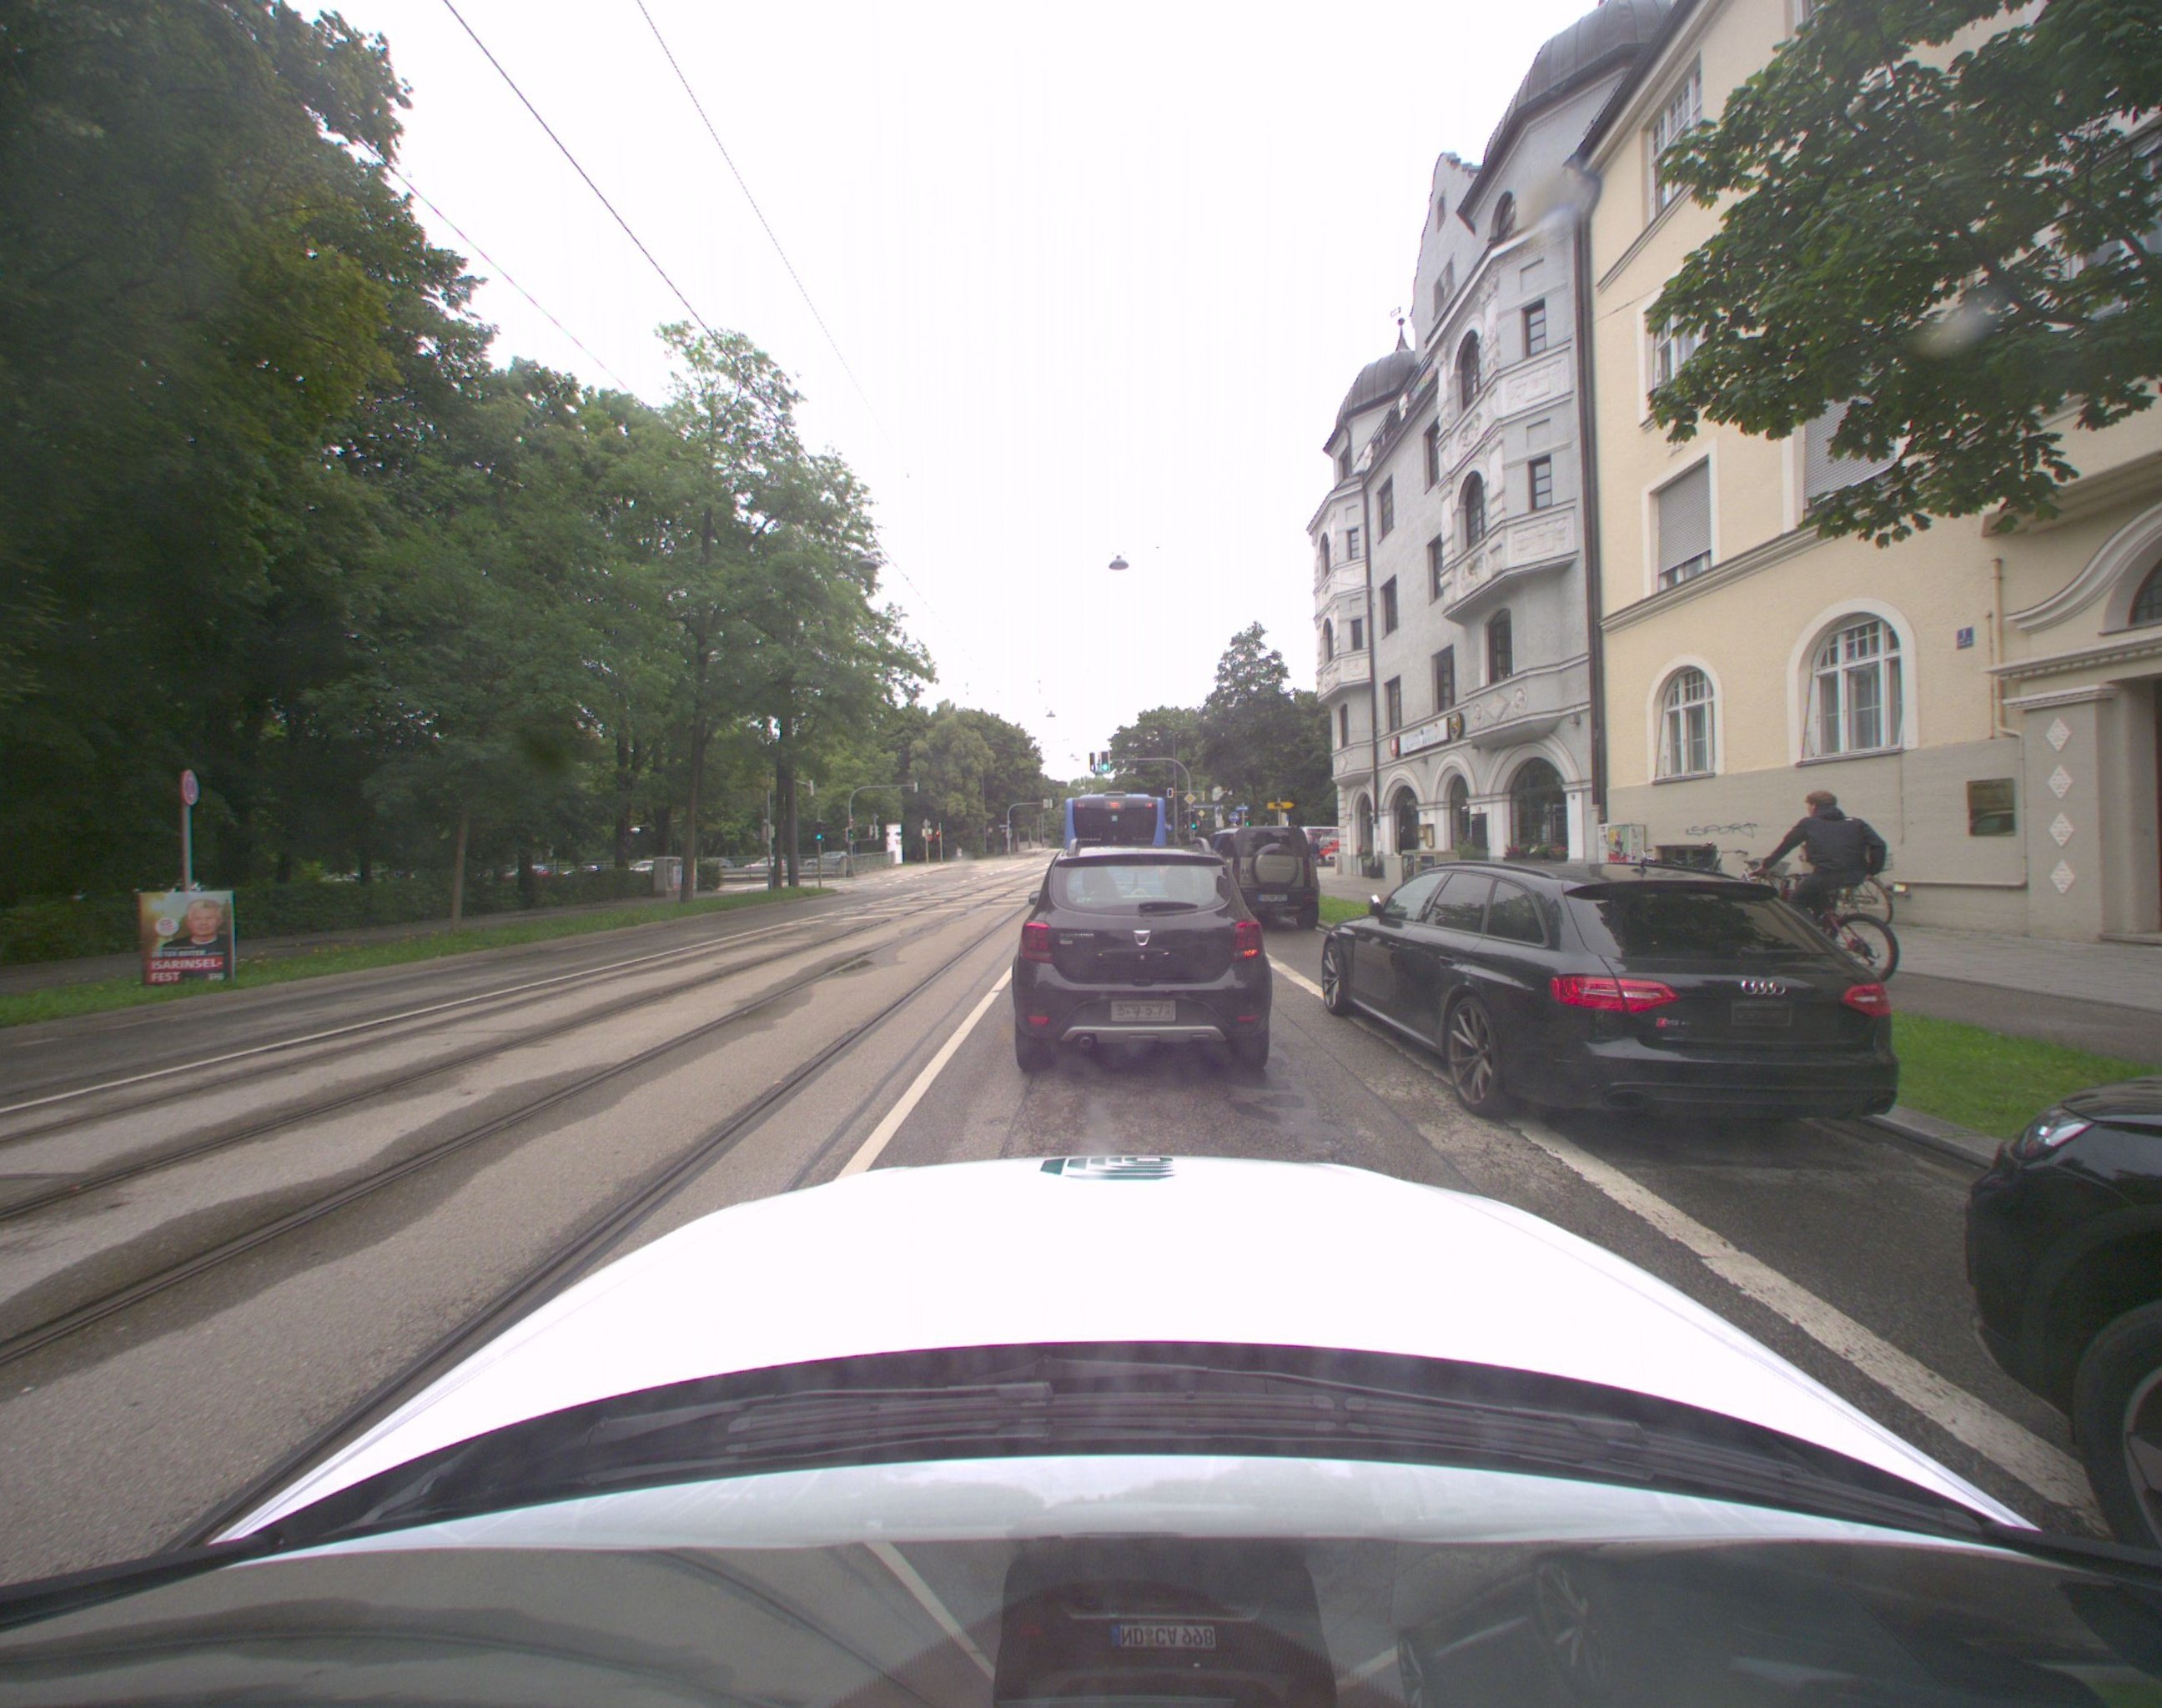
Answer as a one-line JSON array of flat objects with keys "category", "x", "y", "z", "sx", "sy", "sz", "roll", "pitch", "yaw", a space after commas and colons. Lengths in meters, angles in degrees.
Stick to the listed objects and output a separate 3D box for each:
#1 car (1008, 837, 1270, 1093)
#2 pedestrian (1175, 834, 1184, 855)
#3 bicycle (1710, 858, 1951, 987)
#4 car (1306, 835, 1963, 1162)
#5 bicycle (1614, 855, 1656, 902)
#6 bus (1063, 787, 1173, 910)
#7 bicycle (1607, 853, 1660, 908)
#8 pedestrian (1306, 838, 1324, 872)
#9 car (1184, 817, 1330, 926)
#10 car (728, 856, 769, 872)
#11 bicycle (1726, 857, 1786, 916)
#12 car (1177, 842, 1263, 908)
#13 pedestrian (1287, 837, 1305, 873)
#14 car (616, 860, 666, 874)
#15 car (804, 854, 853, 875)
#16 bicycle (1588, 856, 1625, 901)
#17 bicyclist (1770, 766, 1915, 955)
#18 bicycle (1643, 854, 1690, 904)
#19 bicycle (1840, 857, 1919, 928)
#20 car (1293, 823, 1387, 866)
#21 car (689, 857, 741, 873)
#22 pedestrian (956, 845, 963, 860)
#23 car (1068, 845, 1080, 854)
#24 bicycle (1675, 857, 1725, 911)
[{"category": "car", "x": 0.391, "y": 0.673, "z": 6.727, "sx": 1.595, "sy": 1.556, "sz": 3.526, "roll": 0, "pitch": 0, "yaw": 1}, {"category": "pedestrian", "x": 10.222, "y": -1.008, "z": 84.714, "sx": 0.760, "sy": 2.116, "sz": 0.854, "roll": -2, "pitch": 0, "yaw": 2}, {"category": "bicycle", "x": 7.282, "y": 0.603, "z": 8.066, "sx": 0.577, "sy": 1.078, "sz": 1.912, "roll": -4, "pitch": 0, "yaw": 1}, {"category": "car", "x": 3.055, "y": 0.630, "z": 5.869, "sx": 1.709, "sy": 1.426, "sz": 4.603, "roll": 0, "pitch": 0, "yaw": 1}, {"category": "bicycle", "x": 11.256, "y": 0.493, "z": 16.553, "sx": 0.289, "sy": 0.930, "sz": 0.886, "roll": 0, "pitch": 0, "yaw": 3}, {"category": "bus", "x": 0.912, "y": -0.138, "z": 23.248, "sx": 2.670, "sy": 2.997, "sz": 6.960, "roll": 0, "pitch": 0, "yaw": 0}, {"category": "bicycle", "x": 10.814, "y": 0.491, "z": 15.973, "sx": 0.241, "sy": 1.039, "sz": 1.224, "roll": 0, "pitch": 0, "yaw": 2}, {"category": "pedestrian", "x": 11.861, "y": 0.050, "z": 41.343, "sx": 0.702, "sy": 1.732, "sz": 0.843, "roll": 0, "pitch": 0, "yaw": 2}, {"category": "car", "x": 3.365, "y": 0.301, "z": 16.562, "sx": 1.908, "sy": 1.905, "sz": 4.807, "roll": 0, "pitch": 0, "yaw": 0}, {"category": "car", "x": -29.954, "y": 0.892, "z": 73.381, "sx": 3.103, "sy": 1.452, "sz": 1.249, "roll": 0, "pitch": 0, "yaw": -4}, {"category": "bicycle", "x": 11.001, "y": 0.512, "z": 13.290, "sx": 0.284, "sy": 0.930, "sz": 0.886, "roll": 0, "pitch": 0, "yaw": 3}, {"category": "car", "x": 3.616, "y": 0.495, "z": 21.796, "sx": 1.708, "sy": 1.591, "sz": 4.329, "roll": 0, "pitch": 0, "yaw": 2}, {"category": "pedestrian", "x": 11.051, "y": 0.043, "z": 41.825, "sx": 0.702, "sy": 1.816, "sz": 0.870, "roll": 0, "pitch": 0, "yaw": 2}, {"category": "car", "x": -39.411, "y": 1.154, "z": 73.023, "sx": 3.720, "sy": 1.185, "sz": 1.249, "roll": 0, "pitch": 0, "yaw": -4}, {"category": "car", "x": -22.904, "y": 0.936, "z": 74.029, "sx": 4.015, "sy": 1.887, "sz": 1.488, "roll": 0, "pitch": 0, "yaw": -5}, {"category": "bicycle", "x": 11.285, "y": 0.520, "z": 17.490, "sx": 0.258, "sy": 0.930, "sz": 0.886, "roll": 0, "pitch": 0, "yaw": 3}, {"category": "bicyclist", "x": 7.287, "y": 0.058, "z": 7.827, "sx": 0.722, "sy": 1.729, "sz": 0.726, "roll": 0, "pitch": 0, "yaw": 1}, {"category": "bicycle", "x": 11.193, "y": 0.462, "z": 15.594, "sx": 0.304, "sy": 0.930, "sz": 0.886, "roll": 0, "pitch": 0, "yaw": 4}, {"category": "bicycle", "x": 10.989, "y": 0.510, "z": 11.231, "sx": 0.220, "sy": 0.930, "sz": 0.886, "roll": 0, "pitch": 0, "yaw": 1}, {"category": "car", "x": 16.229, "y": -0.587, "z": 51.215, "sx": 5.281, "sy": 2.612, "sz": 2.229, "roll": 0, "pitch": 0, "yaw": -2}, {"category": "car", "x": -32.979, "y": 1.013, "z": 73.395, "sx": 3.915, "sy": 1.404, "sz": 1.719, "roll": 0, "pitch": 0, "yaw": -3}, {"category": "pedestrian", "x": -12.209, "y": -0.160, "z": 82.042, "sx": 0.529, "sy": 1.501, "sz": 0.589, "roll": 0, "pitch": 0, "yaw": 6}, {"category": "car", "x": -1.072, "y": -0.624, "z": 125.636, "sx": 1.782, "sy": 1.370, "sz": 3.400, "roll": 0, "pitch": 0, "yaw": 0}, {"category": "bicycle", "x": 11.101, "y": 0.520, "z": 14.625, "sx": 0.271, "sy": 0.930, "sz": 0.886, "roll": 0, "pitch": 0, "yaw": 3}]
